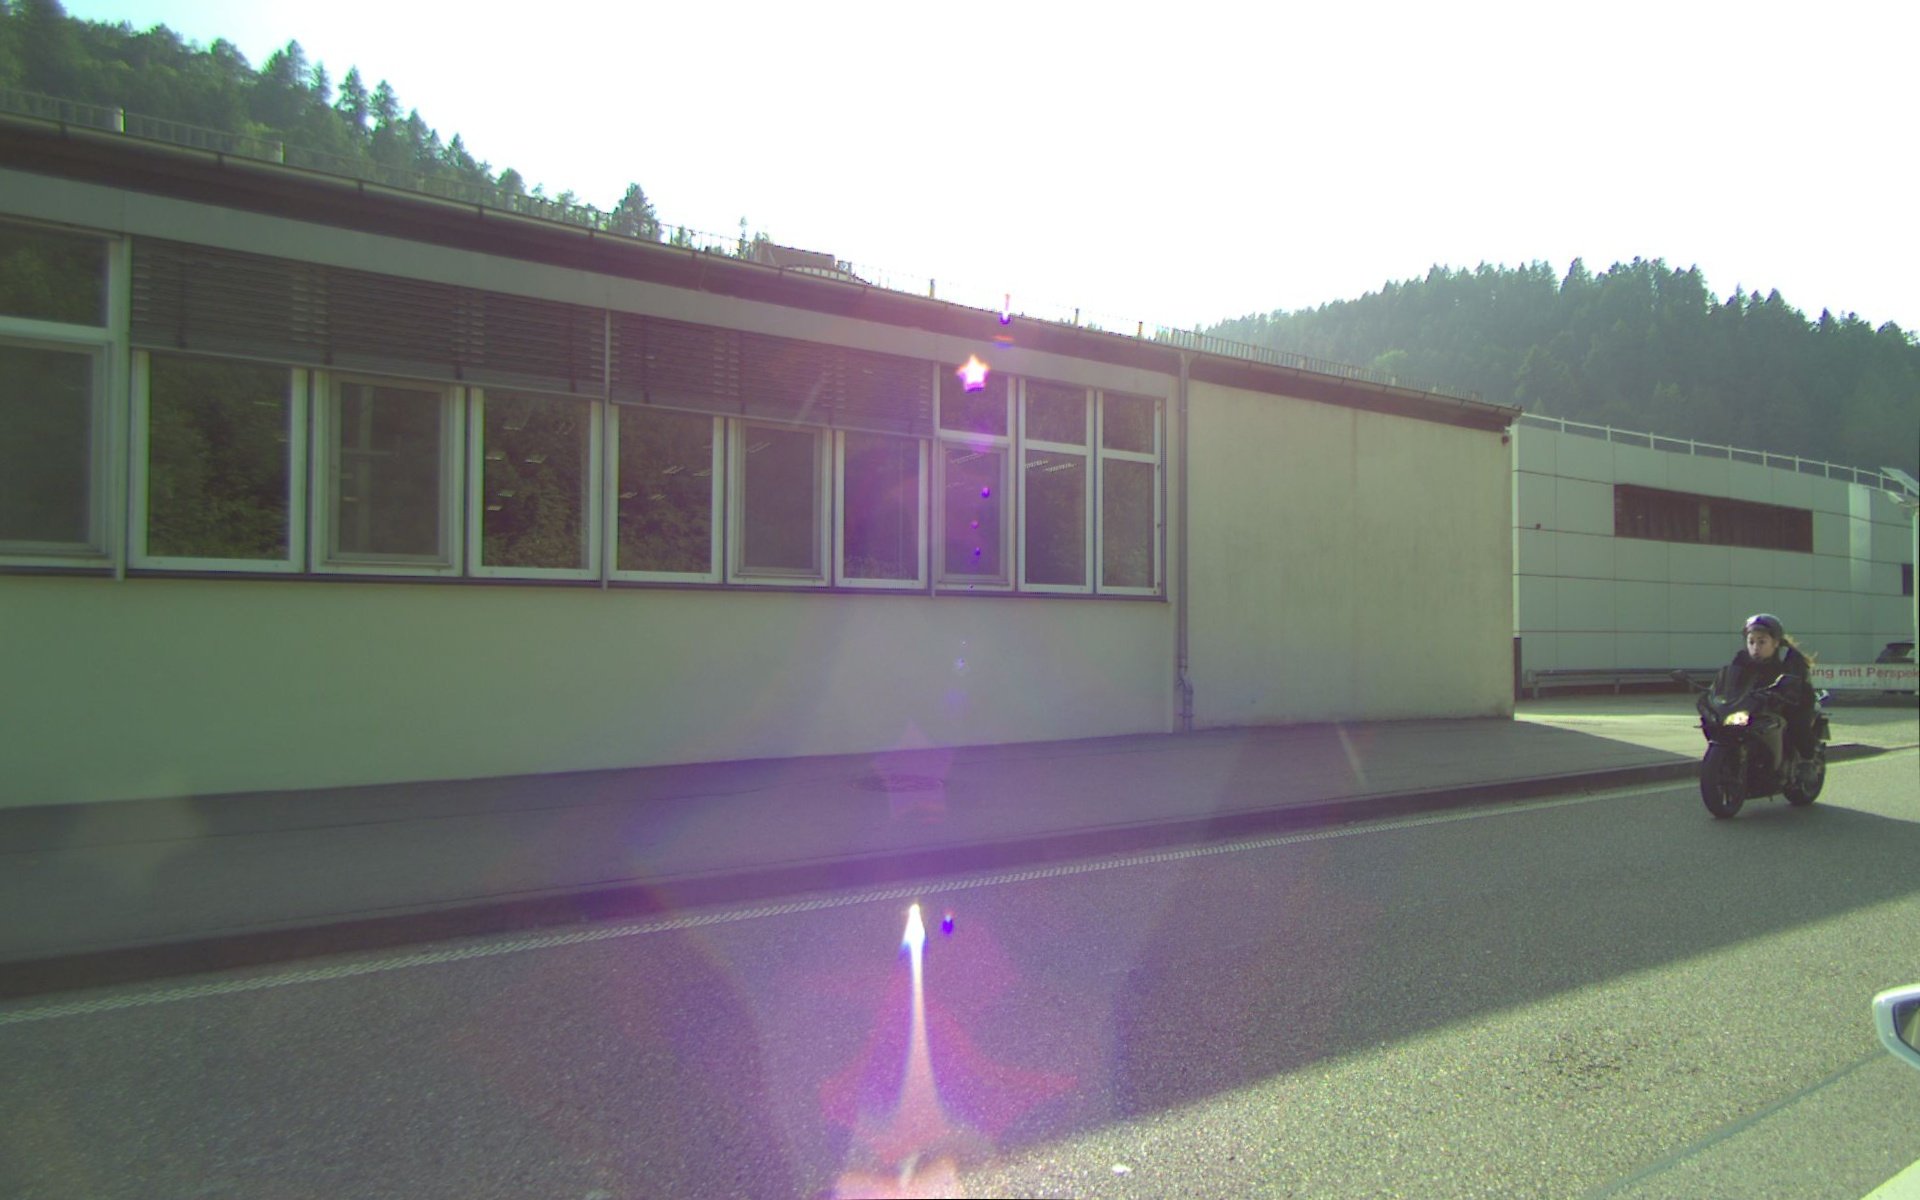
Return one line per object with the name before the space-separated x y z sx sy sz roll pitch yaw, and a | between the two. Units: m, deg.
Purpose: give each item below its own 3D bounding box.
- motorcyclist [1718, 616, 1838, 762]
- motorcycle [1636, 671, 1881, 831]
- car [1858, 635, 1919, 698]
motorcyclist | 6.737 0.710 8.278 0.629 1.139 0.583 1 -1 -30
motorcycle | 6.552 1.156 8.195 2.463 1.082 0.738 2 -1 -30
car | 26.944 1.802 26.772 4.090 1.613 1.890 1 -1 12
